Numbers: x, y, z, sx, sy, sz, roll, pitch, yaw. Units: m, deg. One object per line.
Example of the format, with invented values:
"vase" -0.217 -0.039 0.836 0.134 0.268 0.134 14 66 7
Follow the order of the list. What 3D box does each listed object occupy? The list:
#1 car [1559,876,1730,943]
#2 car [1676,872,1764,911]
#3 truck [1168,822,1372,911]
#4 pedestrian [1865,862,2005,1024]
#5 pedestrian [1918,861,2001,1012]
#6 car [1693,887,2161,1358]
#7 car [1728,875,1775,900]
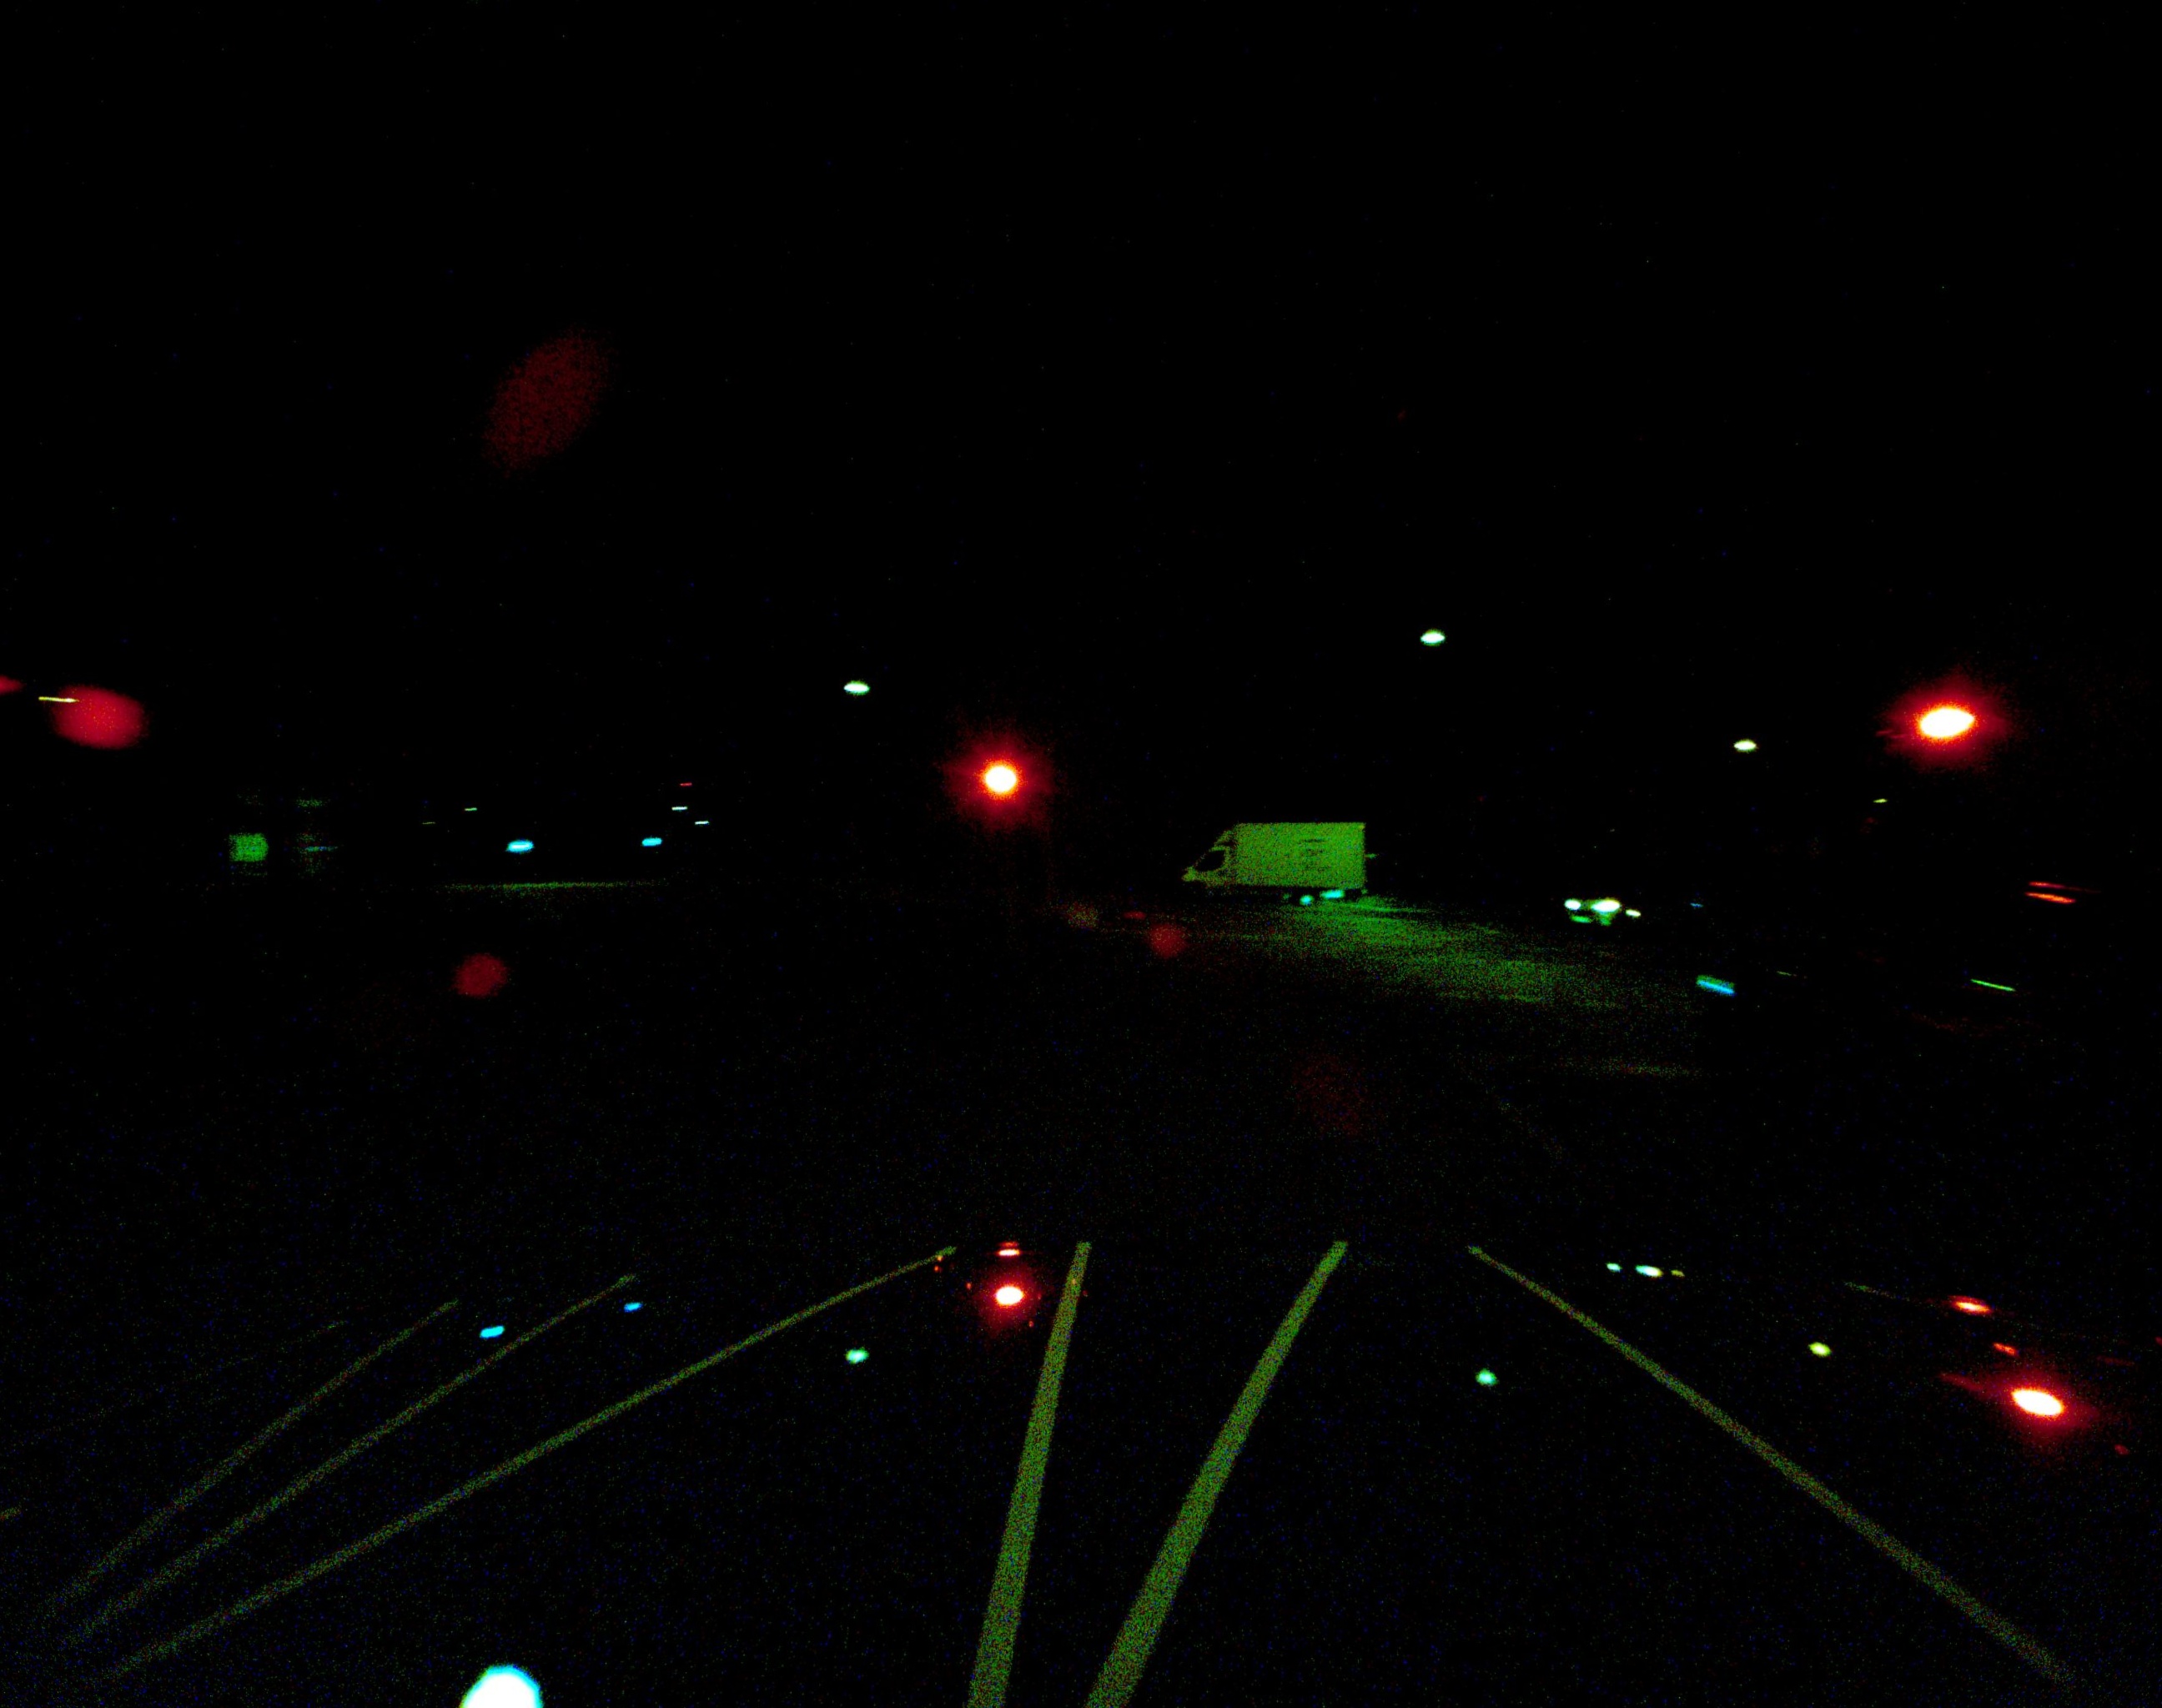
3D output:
"car" 13.587 1.320 18.428 3.048 1.492 1.514 1 -1 -1
"car" 27.930 1.601 33.351 2.048 1.546 4.264 0 -1 27
"truck" 6.997 0.320 28.356 7.020 3.028 2.776 1 3 18
"pedestrian" 9.965 0.986 8.914 0.727 1.758 0.967 1 -1 23
"pedestrian" 10.883 0.991 9.430 0.522 1.781 0.694 1 -1 37
"car" 4.389 0.910 2.606 1.728 1.421 4.293 0 0 10
"car" 39.550 1.930 44.796 3.703 1.349 1.635 1 0 -42
